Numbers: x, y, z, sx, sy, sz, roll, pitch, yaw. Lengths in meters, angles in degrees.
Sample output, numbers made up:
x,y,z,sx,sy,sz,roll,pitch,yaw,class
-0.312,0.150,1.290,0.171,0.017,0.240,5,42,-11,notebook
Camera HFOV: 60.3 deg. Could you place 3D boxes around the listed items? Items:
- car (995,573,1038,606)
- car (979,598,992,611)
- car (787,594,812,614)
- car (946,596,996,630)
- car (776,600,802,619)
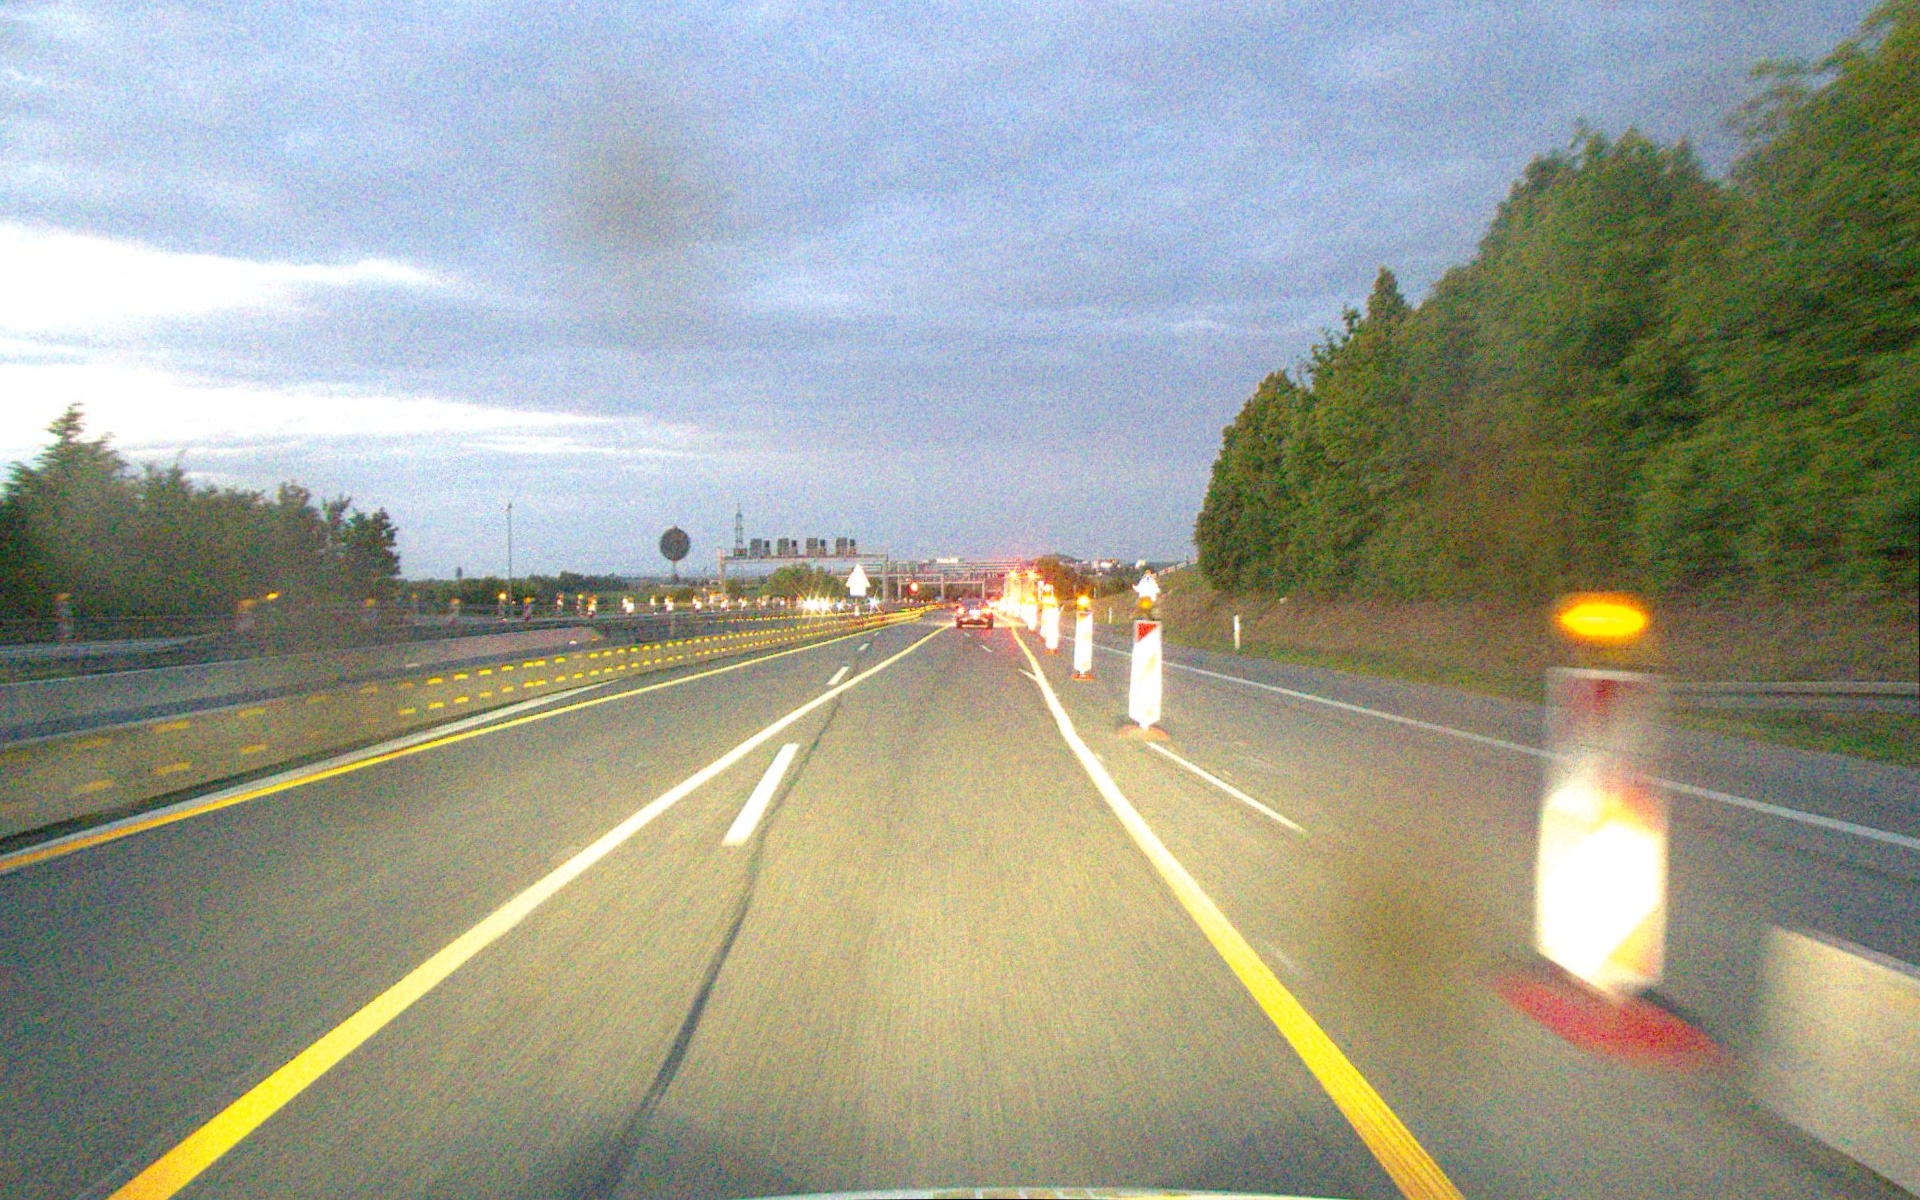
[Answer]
x,y,z,sx,sy,sz,roll,pitch,yaw,class
6.147,-1.151,180.726,3.536,3.455,8.004,2,0,-6,car
3.994,0.677,257.657,1.953,2.049,4.000,2,0,0,car
-15.974,0.421,164.845,1.952,1.860,4.000,2,0,0,car
0.516,0.616,82.580,2.221,1.649,3.997,0,0,-4,car
-16.256,0.877,157.550,1.952,1.744,4.000,2,0,0,car
